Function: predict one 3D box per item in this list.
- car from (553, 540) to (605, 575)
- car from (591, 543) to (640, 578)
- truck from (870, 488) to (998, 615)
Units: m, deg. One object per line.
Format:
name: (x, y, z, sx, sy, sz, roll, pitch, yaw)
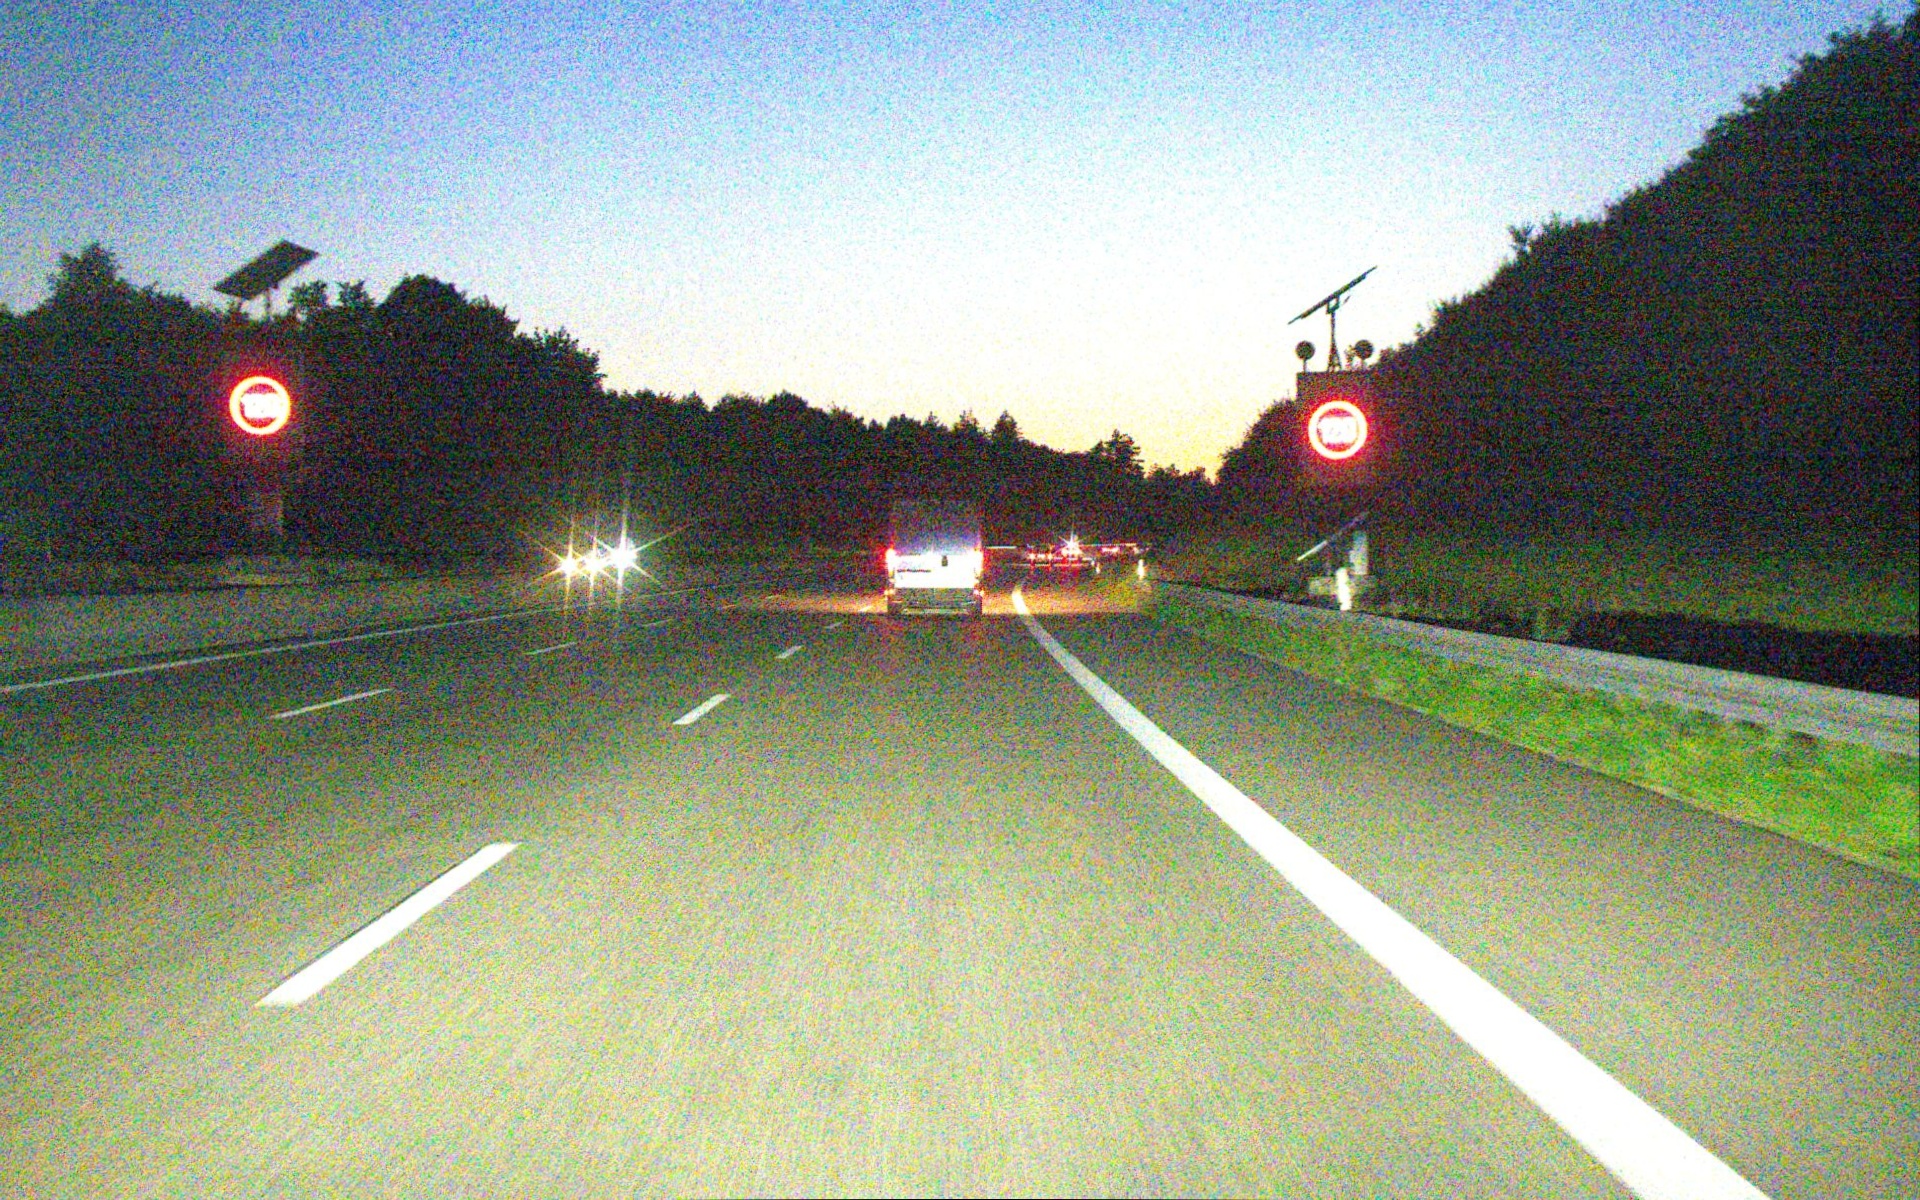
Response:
car: (-17.847, -1.973, 161.267, 1.993, 1.597, 4.213, 1, 0, 0)
car: (-20.225, -2.286, 202.198, 2.026, 2.007, 5.186, 1, 0, 4)
truck: (-0.576, -1.041, 75.943, 2.630, 2.615, 8.685, 1, 0, 0)
